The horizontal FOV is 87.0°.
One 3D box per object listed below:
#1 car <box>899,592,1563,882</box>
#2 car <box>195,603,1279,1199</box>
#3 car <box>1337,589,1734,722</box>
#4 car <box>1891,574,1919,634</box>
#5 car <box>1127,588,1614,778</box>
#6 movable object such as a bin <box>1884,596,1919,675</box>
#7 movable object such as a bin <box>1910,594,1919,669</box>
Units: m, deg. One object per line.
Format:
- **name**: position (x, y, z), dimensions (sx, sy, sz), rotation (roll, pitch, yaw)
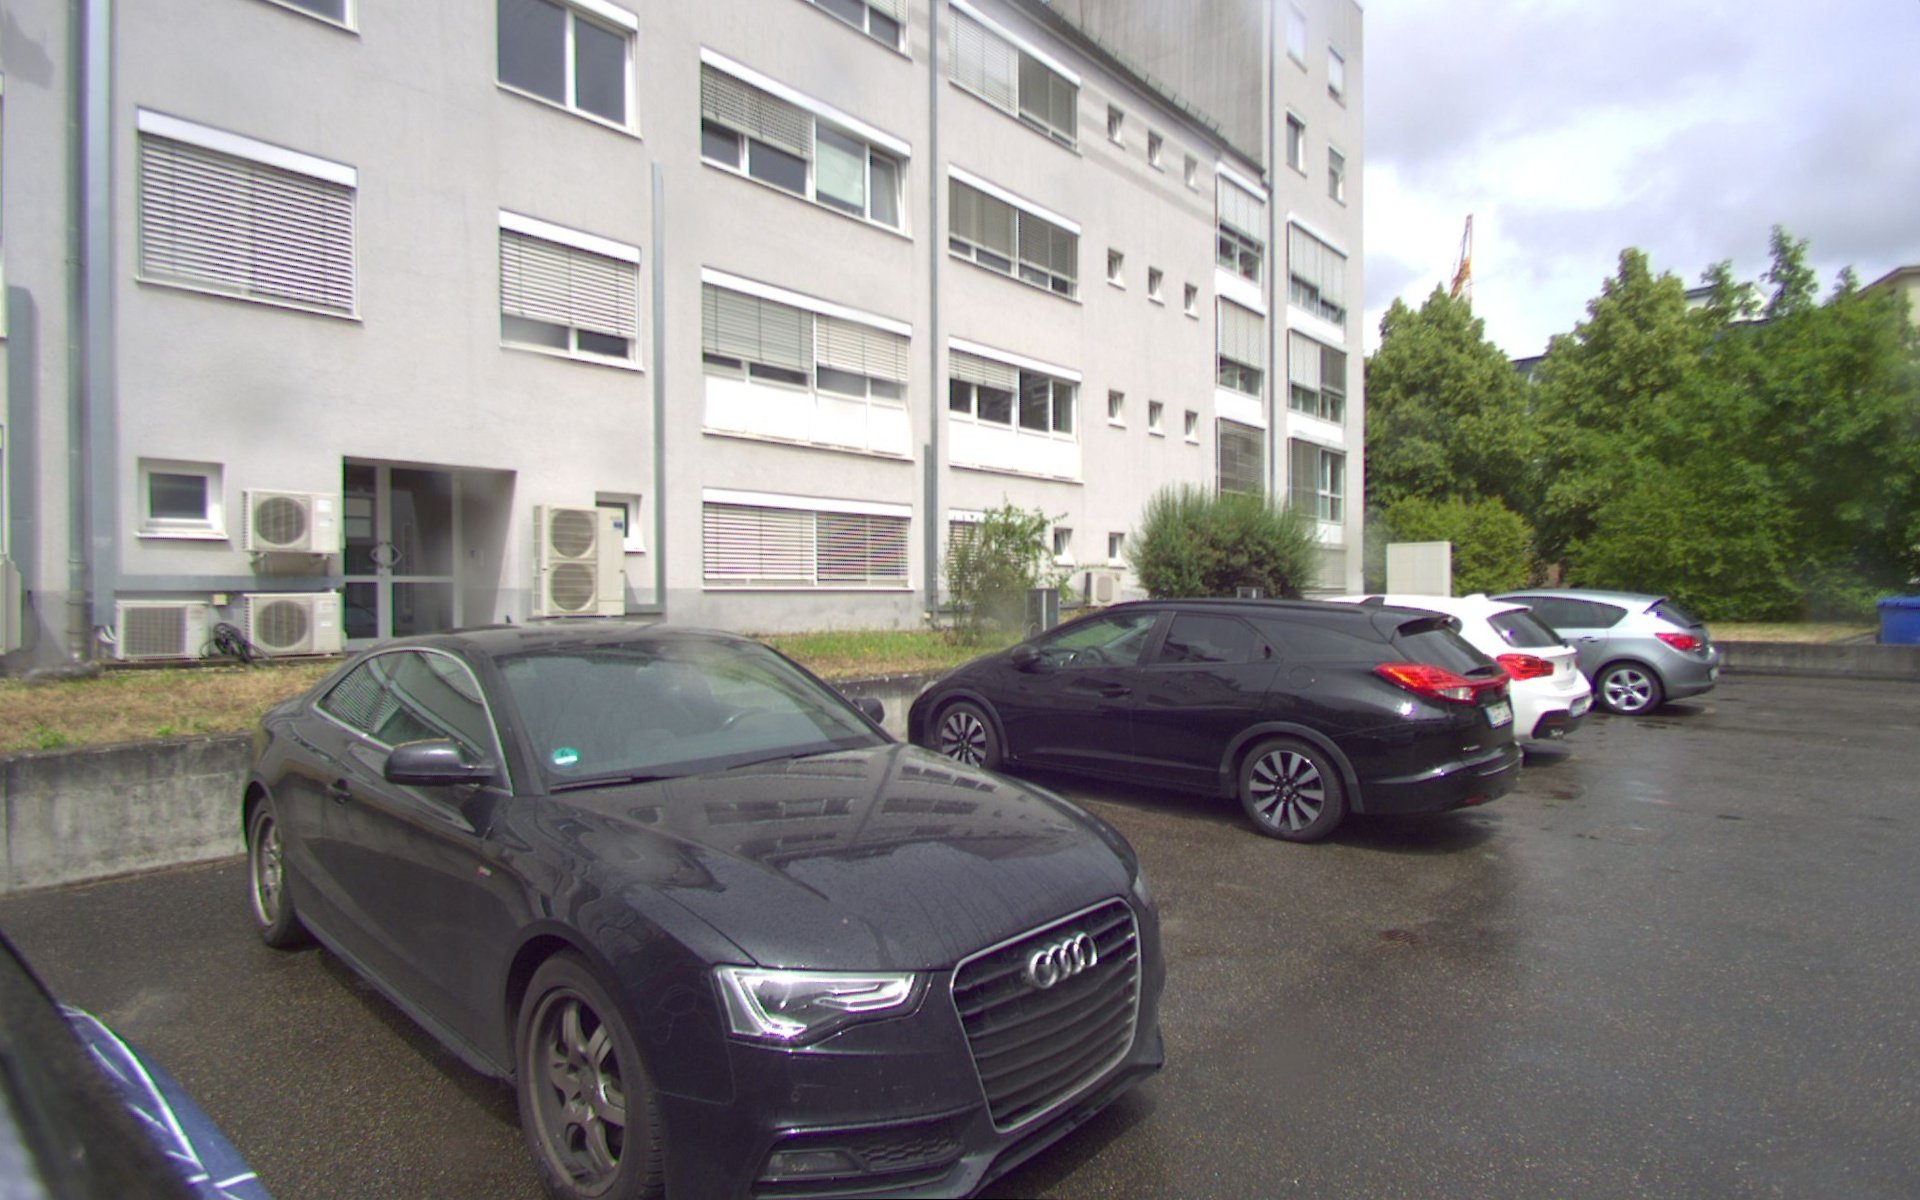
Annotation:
- **car**: position (1.696, 0.686, 7.288), dimensions (4.314, 1.453, 1.739), rotation (1, 1, 42)
- **car**: position (-1.316, 0.739, 3.831), dimensions (4.529, 1.362, 1.738), rotation (1, 1, 43)
- **car**: position (7.474, 0.603, 13.413), dimensions (4.315, 1.453, 1.739), rotation (1, 1, 42)
- **car**: position (29.485, 0.075, 28.677), dimensions (1.694, 1.740, 4.344), rotation (-1, 0, -37)
- **car**: position (3.838, 0.628, 9.944), dimensions (4.126, 1.453, 1.672), rotation (1, 1, 43)
- **movable object such as a bin**: position (16.895, 0.598, 17.538), dimensions (1.189, 1.338, 1.133), rotation (-1, 0, -39)
- **movable object such as a bin**: position (18.245, 0.566, 18.494), dimensions (1.189, 1.338, 1.133), rotation (-1, 0, -39)
